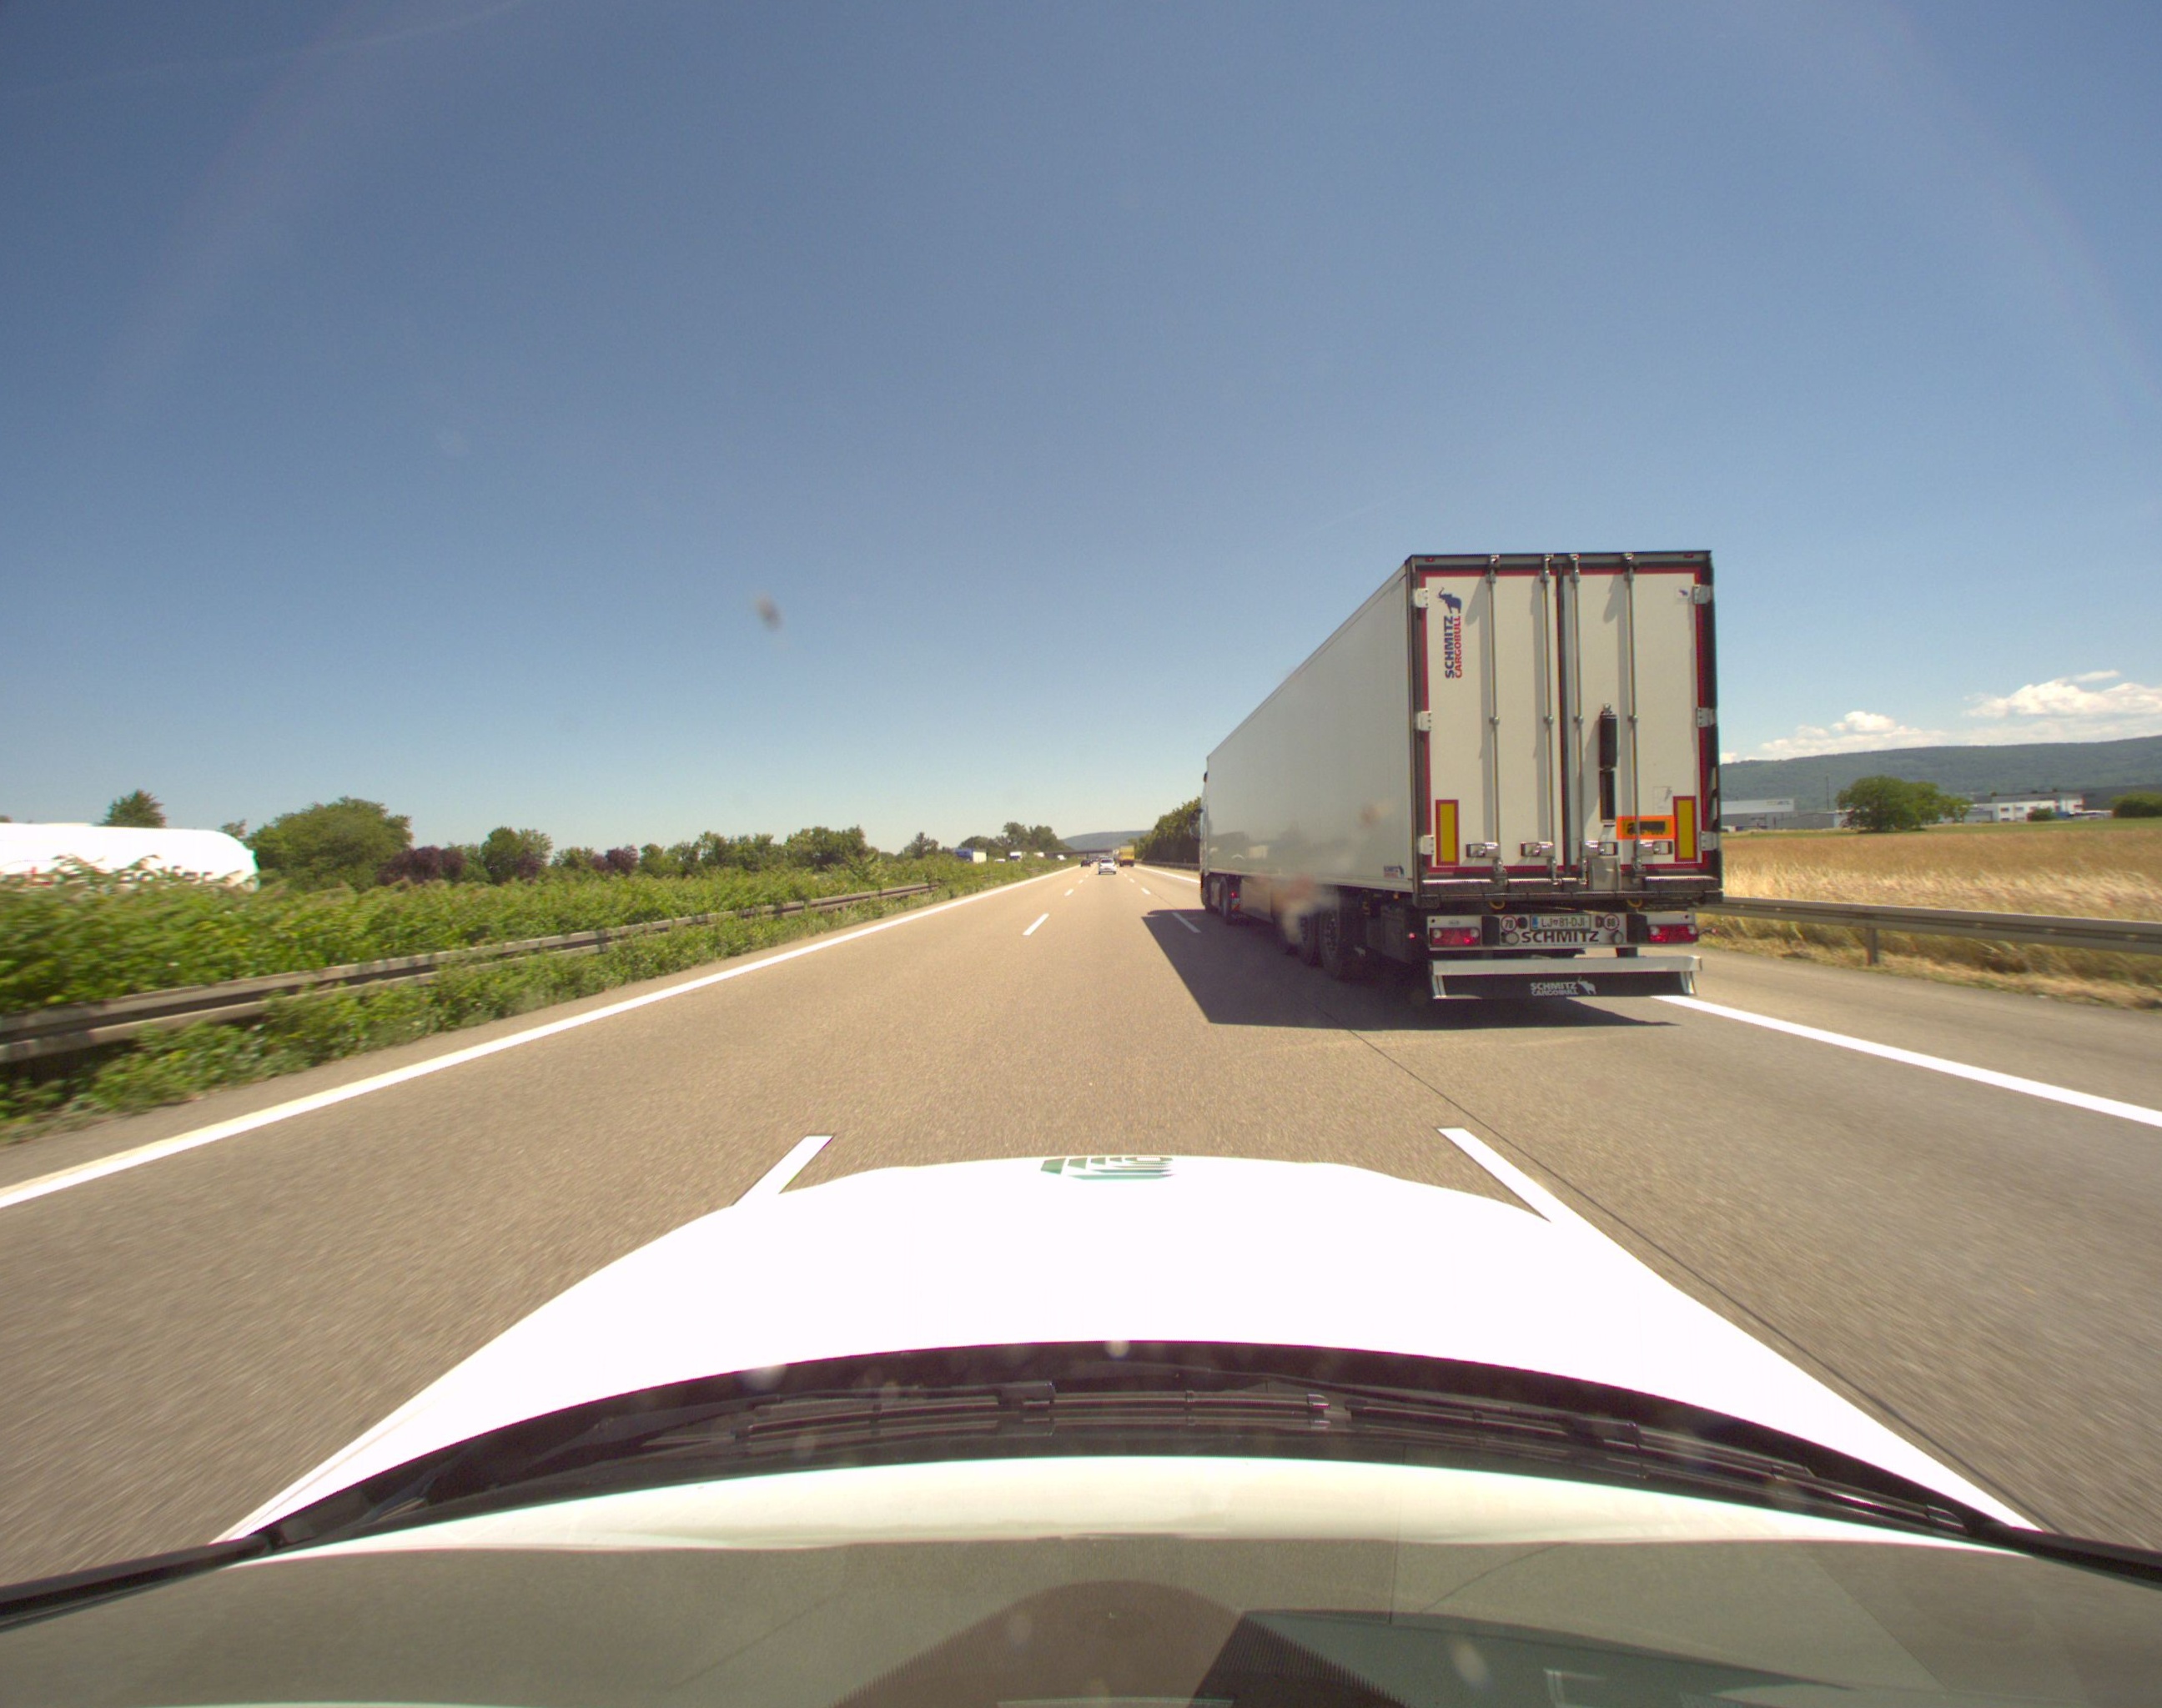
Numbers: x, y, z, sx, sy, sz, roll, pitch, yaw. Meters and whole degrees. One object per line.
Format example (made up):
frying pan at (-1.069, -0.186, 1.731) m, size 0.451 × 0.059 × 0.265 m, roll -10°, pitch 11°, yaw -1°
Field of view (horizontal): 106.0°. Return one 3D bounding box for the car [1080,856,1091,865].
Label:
car at (0.901, 1.200, 152.938) m, size 1.986 × 1.712 × 4.001 m, roll -2°, pitch 0°, yaw 1°

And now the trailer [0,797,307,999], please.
trailer at (-20.383, 0.810, 13.676) m, size 3.216 × 3.516 × 11.773 m, roll -2°, pitch 0°, yaw 1°

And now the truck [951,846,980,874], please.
truck at (-17.000, 0.849, 120.099) m, size 3.123 × 3.832 × 5.835 m, roll -2°, pitch 0°, yaw 1°

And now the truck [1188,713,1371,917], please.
truck at (4.692, -0.837, 20.777) m, size 3.206 × 4.345 × 6.593 m, roll 0°, pitch 0°, yaw 2°

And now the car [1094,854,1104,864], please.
car at (3.164, 0.922, 143.008) m, size 1.780 × 1.712 × 4.001 m, roll 0°, pitch 0°, yaw 1°

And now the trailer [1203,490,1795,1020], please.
trailer at (4.463, -0.824, 13.536) m, size 3.206 × 4.345 × 13.634 m, roll 0°, pitch 0°, yaw 2°

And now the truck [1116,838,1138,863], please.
truck at (8.260, -0.580, 147.922) m, size 3.856 × 4.345 × 13.867 m, roll 0°, pitch 0°, yaw 2°

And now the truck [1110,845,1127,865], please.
truck at (9.478, 0.248, 207.819) m, size 4.255 × 4.652 × 13.866 m, roll -1°, pitch 0°, yaw 2°

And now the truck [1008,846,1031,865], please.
truck at (-14.590, 0.399, 193.466) m, size 3.856 × 4.345 × 13.867 m, roll 0°, pitch 0°, yaw 2°

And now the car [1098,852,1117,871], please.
car at (2.584, 0.738, 79.190) m, size 1.726 × 1.684 × 4.001 m, roll -2°, pitch 0°, yaw 1°

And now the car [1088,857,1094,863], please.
car at (2.862, 1.789, 232.361) m, size 1.788 × 1.551 × 4.002 m, roll -1°, pitch 0°, yaw 2°
